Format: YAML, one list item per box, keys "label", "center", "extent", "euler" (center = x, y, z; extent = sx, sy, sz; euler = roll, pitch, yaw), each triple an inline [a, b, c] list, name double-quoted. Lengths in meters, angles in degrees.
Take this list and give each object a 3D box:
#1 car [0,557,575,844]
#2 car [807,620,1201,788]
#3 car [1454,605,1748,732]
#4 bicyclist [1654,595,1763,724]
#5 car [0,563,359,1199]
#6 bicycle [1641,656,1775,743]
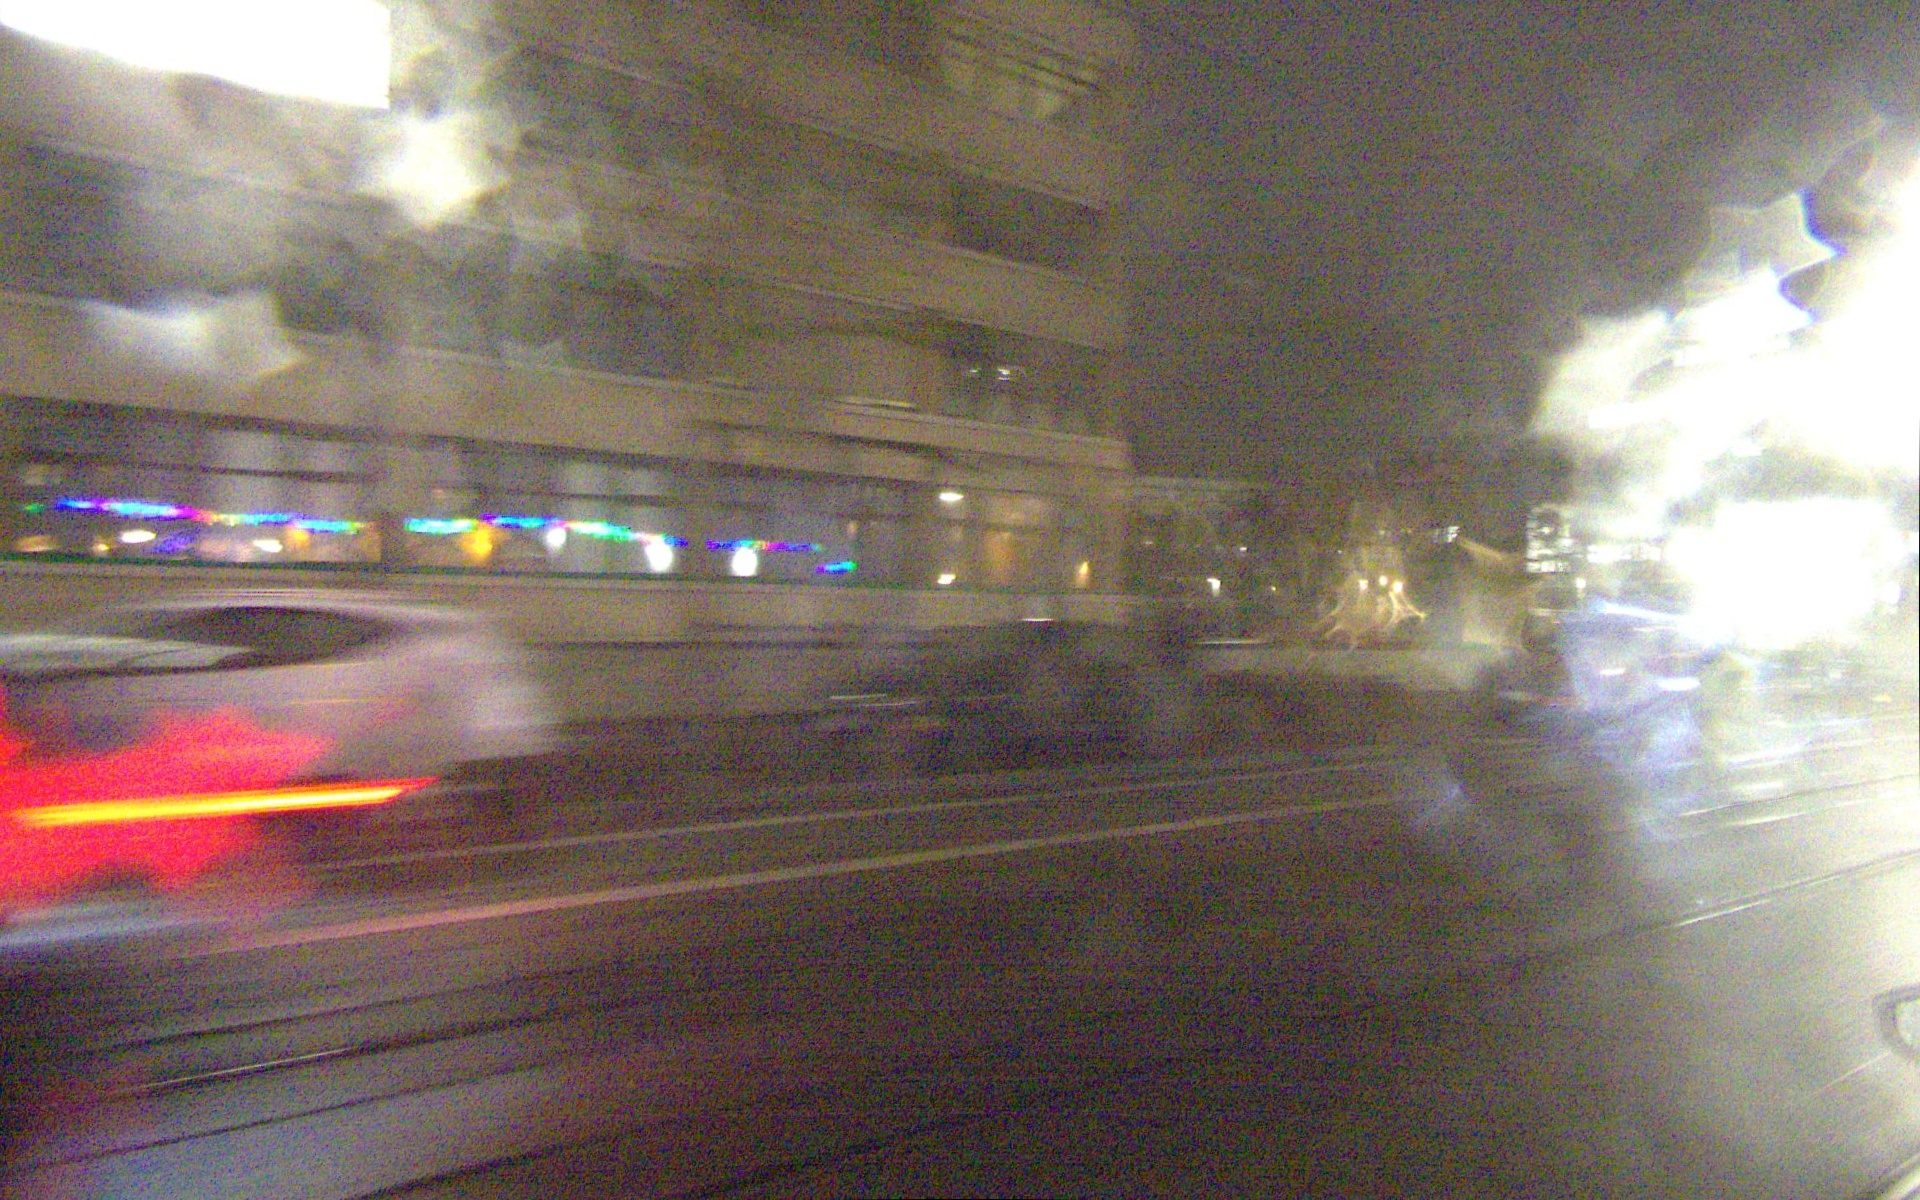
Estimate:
- label: "car"
  center: [-5.257, 0.602, 7.091]
  extent: [4.465, 1.653, 1.973]
  euler: [2, -1, -31]
- label: "car"
  center: [0.532, 0.947, 10.464]
  extent: [3.873, 1.440, 1.681]
  euler: [1, -1, -34]
- label: "car"
  center: [10.225, 1.035, 15.972]
  extent: [4.545, 1.678, 1.961]
  euler: [2, 1, -29]
- label: "bicyclist"
  center: [10.187, 0.806, 13.677]
  extent: [1.192, 1.677, 0.779]
  euler: [2, -3, -30]
- label: "car"
  center: [-3.797, 0.650, 2.372]
  extent: [4.003, 1.538, 1.767]
  euler: [1, 0, -30]
- label: "bicycle"
  center: [10.180, 1.322, 13.656]
  extent: [1.896, 1.096, 0.779]
  euler: [2, -3, -30]
